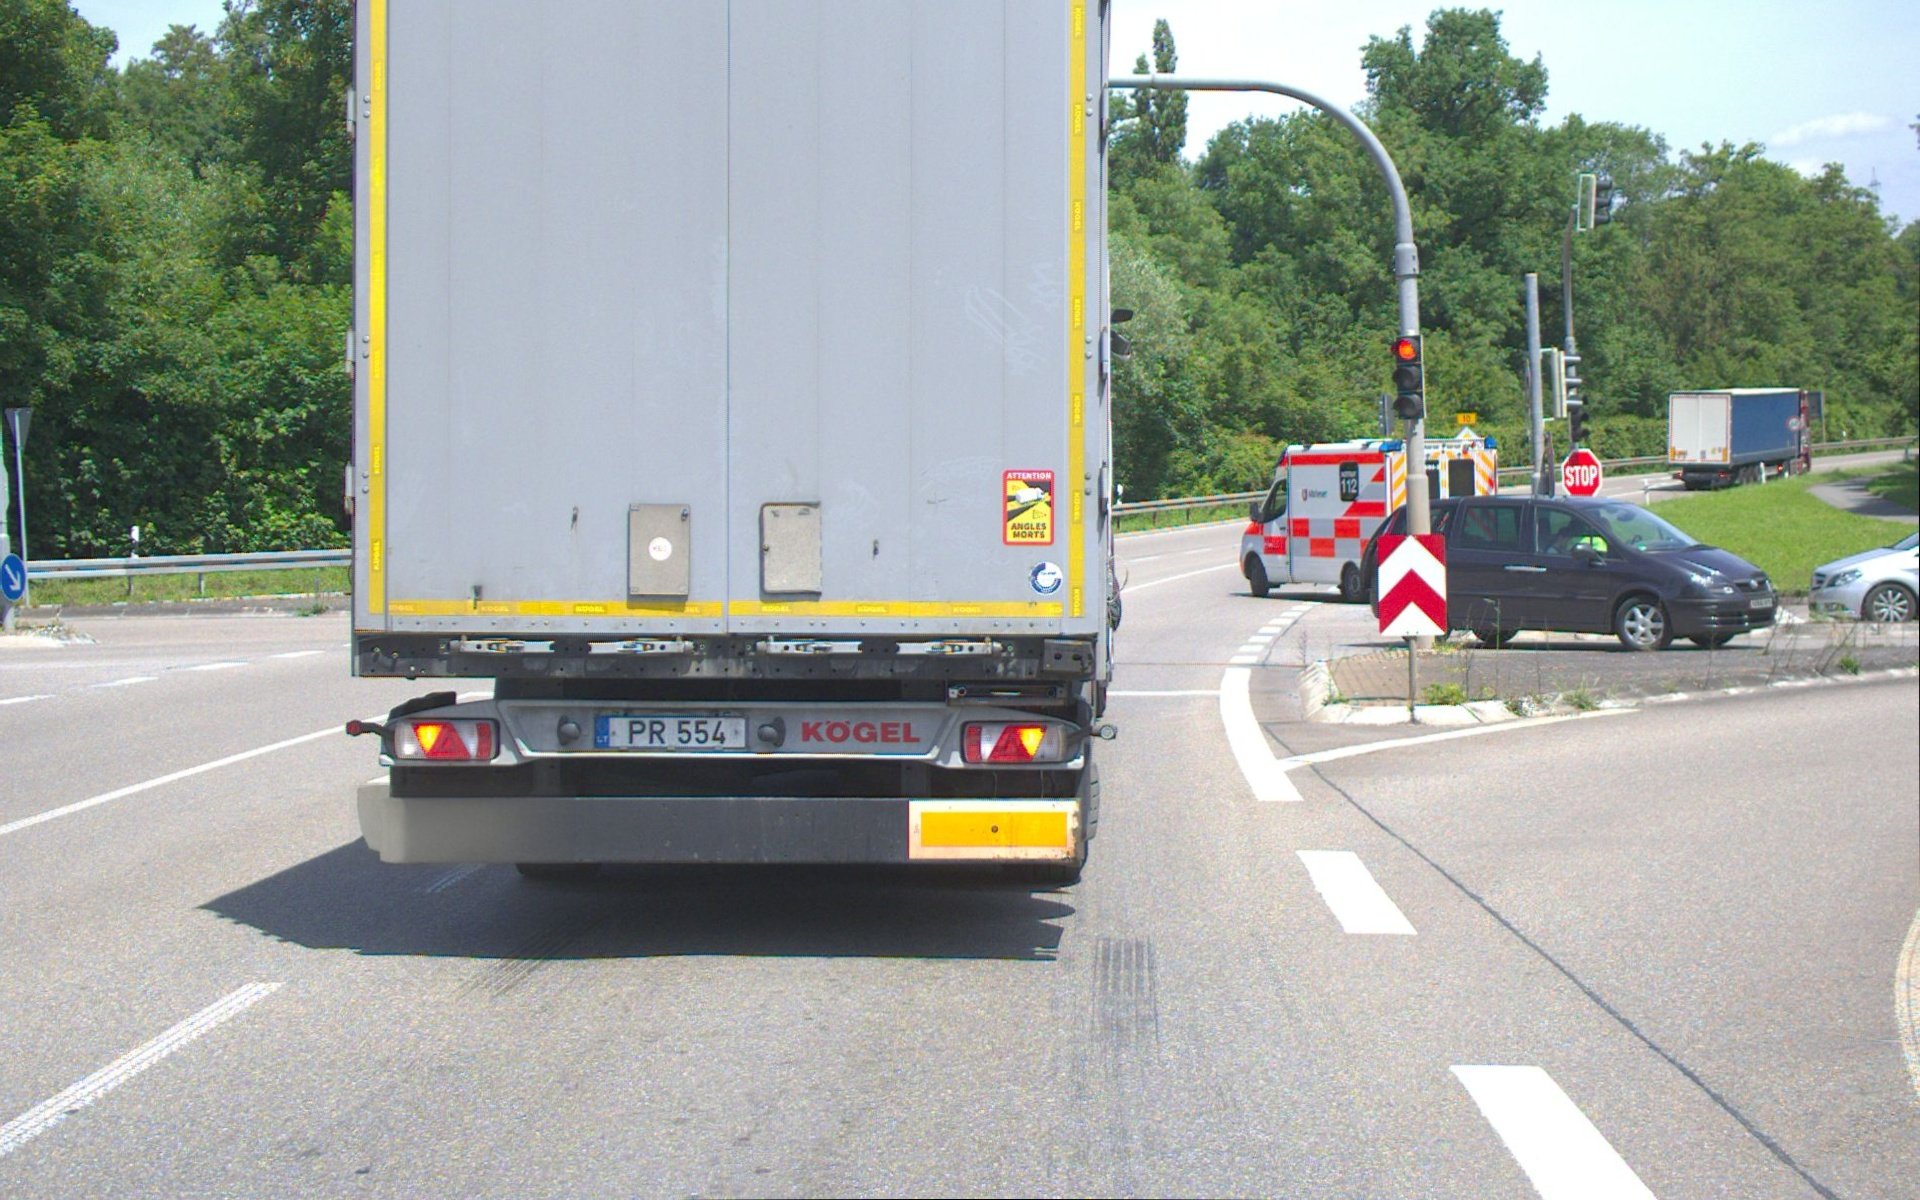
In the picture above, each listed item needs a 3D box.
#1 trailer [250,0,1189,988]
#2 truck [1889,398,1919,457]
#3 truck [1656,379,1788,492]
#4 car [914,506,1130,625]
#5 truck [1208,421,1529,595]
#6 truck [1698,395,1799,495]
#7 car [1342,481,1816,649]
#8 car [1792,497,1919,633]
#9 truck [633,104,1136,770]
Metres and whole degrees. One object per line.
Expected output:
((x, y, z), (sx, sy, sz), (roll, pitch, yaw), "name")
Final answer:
((-0.579, -0.890, 17.444), (3.052, 4.020, 12.559), (0, 1, 2), "trailer")
((51.533, -9.199, 183.394), (2.859, 2.938, 7.096), (1, 1, 23), "truck")
((31.947, -6.784, 143.708), (3.183, 4.015, 11.730), (1, -1, 23), "truck")
((0.774, -0.425, 46.271), (1.993, 1.486, 4.259), (1, -1, -12), "car")
((6.812, -1.473, 58.179), (2.493, 2.718, 6.031), (1, -1, -26), "truck")
((34.201, -6.684, 148.939), (3.173, 3.991, 5.807), (1, 0, 23), "truck")
((6.967, -0.373, 38.998), (4.937, 1.779, 1.995), (0, -1, 39), "car")
((13.253, -0.416, 44.768), (4.428, 1.712, 1.999), (1, -1, 5), "car")
((-0.351, -1.053, 24.119), (3.038, 4.020, 6.629), (0, 1, 2), "truck")
